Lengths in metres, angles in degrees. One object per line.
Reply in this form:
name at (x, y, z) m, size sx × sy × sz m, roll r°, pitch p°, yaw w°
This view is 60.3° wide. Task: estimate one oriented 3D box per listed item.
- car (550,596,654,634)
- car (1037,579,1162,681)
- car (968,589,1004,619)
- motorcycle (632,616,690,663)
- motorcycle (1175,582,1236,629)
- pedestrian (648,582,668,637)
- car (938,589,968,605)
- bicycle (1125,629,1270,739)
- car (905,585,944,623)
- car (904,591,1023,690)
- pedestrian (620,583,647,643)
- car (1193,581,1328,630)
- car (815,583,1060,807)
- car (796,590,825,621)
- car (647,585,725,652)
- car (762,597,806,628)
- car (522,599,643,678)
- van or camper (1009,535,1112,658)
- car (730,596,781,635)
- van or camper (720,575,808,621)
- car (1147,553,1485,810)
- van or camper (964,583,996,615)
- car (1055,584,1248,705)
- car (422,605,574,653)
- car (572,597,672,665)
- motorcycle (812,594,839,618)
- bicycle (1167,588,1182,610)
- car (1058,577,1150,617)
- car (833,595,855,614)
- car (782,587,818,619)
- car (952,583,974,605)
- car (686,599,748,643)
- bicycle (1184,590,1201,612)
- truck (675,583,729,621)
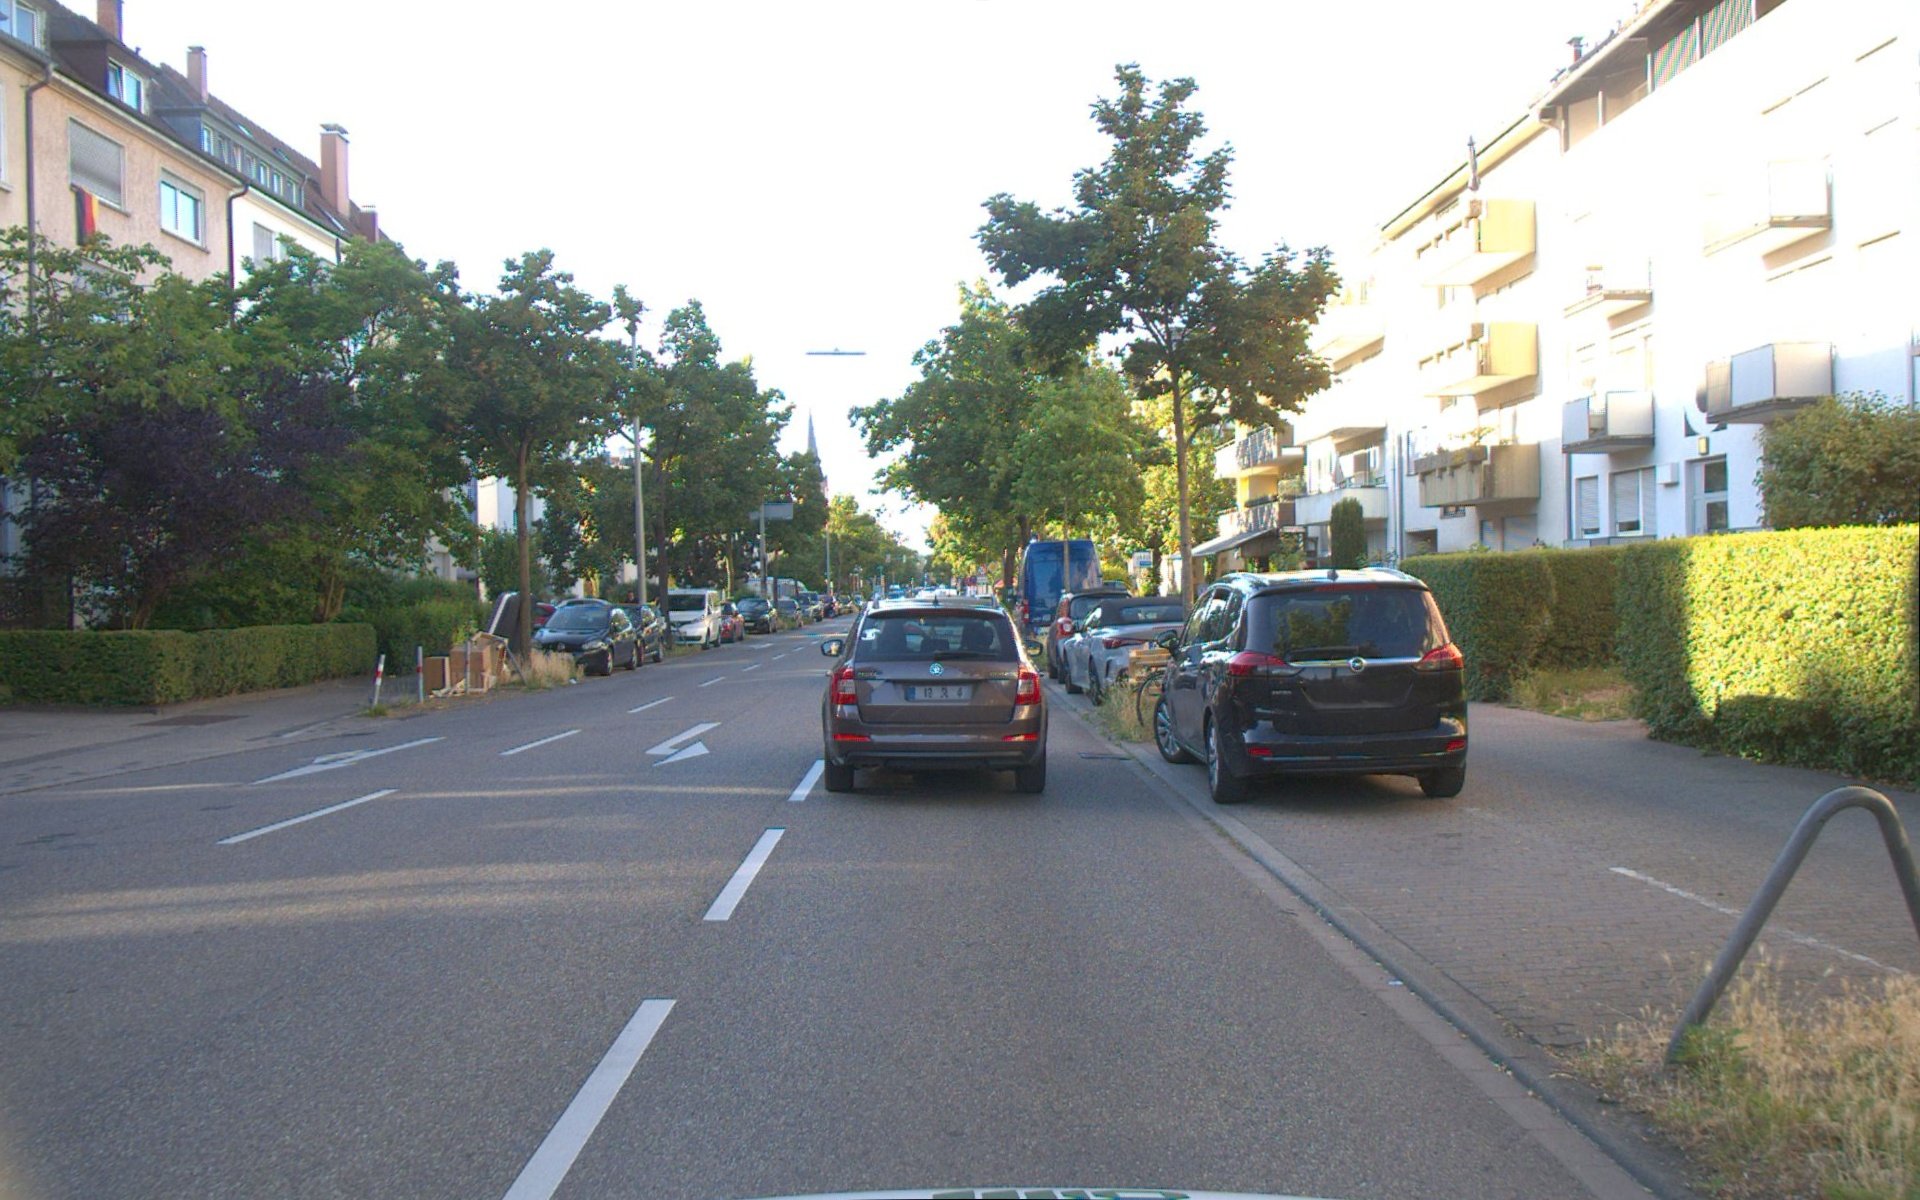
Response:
car at (-14.691, 0.619, 68.006) m, size 3.909 × 1.505 × 1.998 m, roll 0°, pitch 1°, yaw -5°
car at (2.424, 0.505, 29.581) m, size 1.737 × 1.671 × 3.755 m, roll -1°, pitch 0°, yaw -3°
car at (1.339, 0.180, 85.650) m, size 1.783 × 1.438 × 4.112 m, roll -1°, pitch 1°, yaw 1°
motorcycle at (-8.071, 1.054, 44.739) m, size 0.433 × 1.212 × 1.700 m, roll -1°, pitch 1°, yaw 36°
motorcycle at (8.897, 0.184, 60.024) m, size 2.148 × 1.649 × 0.731 m, roll -1°, pitch 0°, yaw 5°
pedestrian at (-11.380, 0.357, 62.364) m, size 0.614 × 2.049 × 0.616 m, roll -1°, pitch 0°, yaw -2°
car at (-0.774, -0.356, 189.362) m, size 1.839 × 1.788 × 4.176 m, roll -1°, pitch 1°, yaw 24°
bicycle at (2.493, 0.871, 17.374) m, size 1.452 × 1.077 × 0.410 m, roll -1°, pitch 0°, yaw -14°
car at (-1.622, 0.153, 76.184) m, size 1.697 × 1.680 × 3.541 m, roll -1°, pitch 1°, yaw -1°
car at (-0.009, 0.630, 28.332) m, size 1.696 × 1.520 × 3.947 m, roll -1°, pitch 1°, yaw -5°
pedestrian at (-11.429, 0.453, 57.914) m, size 0.752 × 2.049 × 0.976 m, roll -1°, pitch 0°, yaw -2°
car at (9.635, 0.167, 53.197) m, size 3.909 × 1.487 × 1.823 m, roll -1°, pitch 1°, yaw -4°
car at (-0.136, 0.646, 13.540) m, size 1.694 × 1.520 × 3.951 m, roll -1°, pitch 1°, yaw 1°
car at (-9.023, 0.309, 100.208) m, size 1.476 × 1.788 × 3.693 m, roll -1°, pitch 1°, yaw -1°
car at (-8.533, 0.526, 51.778) m, size 1.734 × 1.952 × 4.459 m, roll -1°, pitch 1°, yaw -1°
car at (-8.719, 0.591, 82.363) m, size 1.718 × 1.445 × 4.425 m, roll -1°, pitch 1°, yaw 0°
car at (-8.201, 0.792, 36.242) m, size 1.714 × 1.529 × 4.196 m, roll -1°, pitch 1°, yaw -1°
van or camper at (2.352, -0.077, 40.187) m, size 2.026 × 2.722 × 5.988 m, roll -1°, pitch 0°, yaw -1°
car at (-8.767, 0.637, 71.044) m, size 1.682 × 1.523 × 4.247 m, roll -1°, pitch 1°, yaw -1°
van or camper at (-17.329, -0.193, 146.571) m, size 7.488 × 3.942 × 1.999 m, roll -1°, pitch 0°, yaw -3°
car at (2.618, 0.516, 13.173) m, size 1.697 × 1.680 × 4.290 m, roll -1°, pitch 1°, yaw -1°
van or camper at (1.308, -0.108, 109.722) m, size 1.953 × 2.049 × 3.999 m, roll -1°, pitch 1°, yaw -1°
car at (2.614, 0.550, 23.729) m, size 1.882 × 1.512 × 4.742 m, roll -1°, pitch 1°, yaw -4°
car at (-14.903, 0.906, 53.573) m, size 4.631 × 1.386 × 1.993 m, roll -1°, pitch 1°, yaw -14°
car at (-8.356, 0.728, 41.184) m, size 1.714 × 1.529 × 3.978 m, roll -1°, pitch 1°, yaw -1°
motorcycle at (-8.994, 0.395, 110.569) m, size 0.760 × 1.538 × 1.998 m, roll -1°, pitch 1°, yaw -43°
bicycle at (9.804, -0.033, 75.636) m, size 0.335 × 0.967 × 1.580 m, roll 2°, pitch 0°, yaw -6°
car at (7.506, -0.158, 85.893) m, size 4.483 × 1.926 × 1.896 m, roll -1°, pitch 0°, yaw -29°
car at (-9.582, 0.357, 137.279) m, size 1.630 × 1.457 × 3.274 m, roll -1°, pitch 1°, yaw -1°
car at (-9.222, 0.176, 95.537) m, size 1.714 × 1.771 × 3.590 m, roll -1°, pitch 1°, yaw -1°
car at (0.267, -0.518, 145.491) m, size 1.695 × 1.846 × 3.949 m, roll -1°, pitch 1°, yaw -2°
car at (-8.637, 0.719, 59.030) m, size 1.682 × 1.445 × 3.786 m, roll -1°, pitch 1°, yaw -1°
bicycle at (10.538, 0.027, 75.060) m, size 0.335 × 0.967 × 1.580 m, roll -3°, pitch 0°, yaw -6°
truck at (-15.100, 0.122, 96.868) m, size 2.854 × 2.130 × 1.546 m, roll -1°, pitch 1°, yaw -2°
